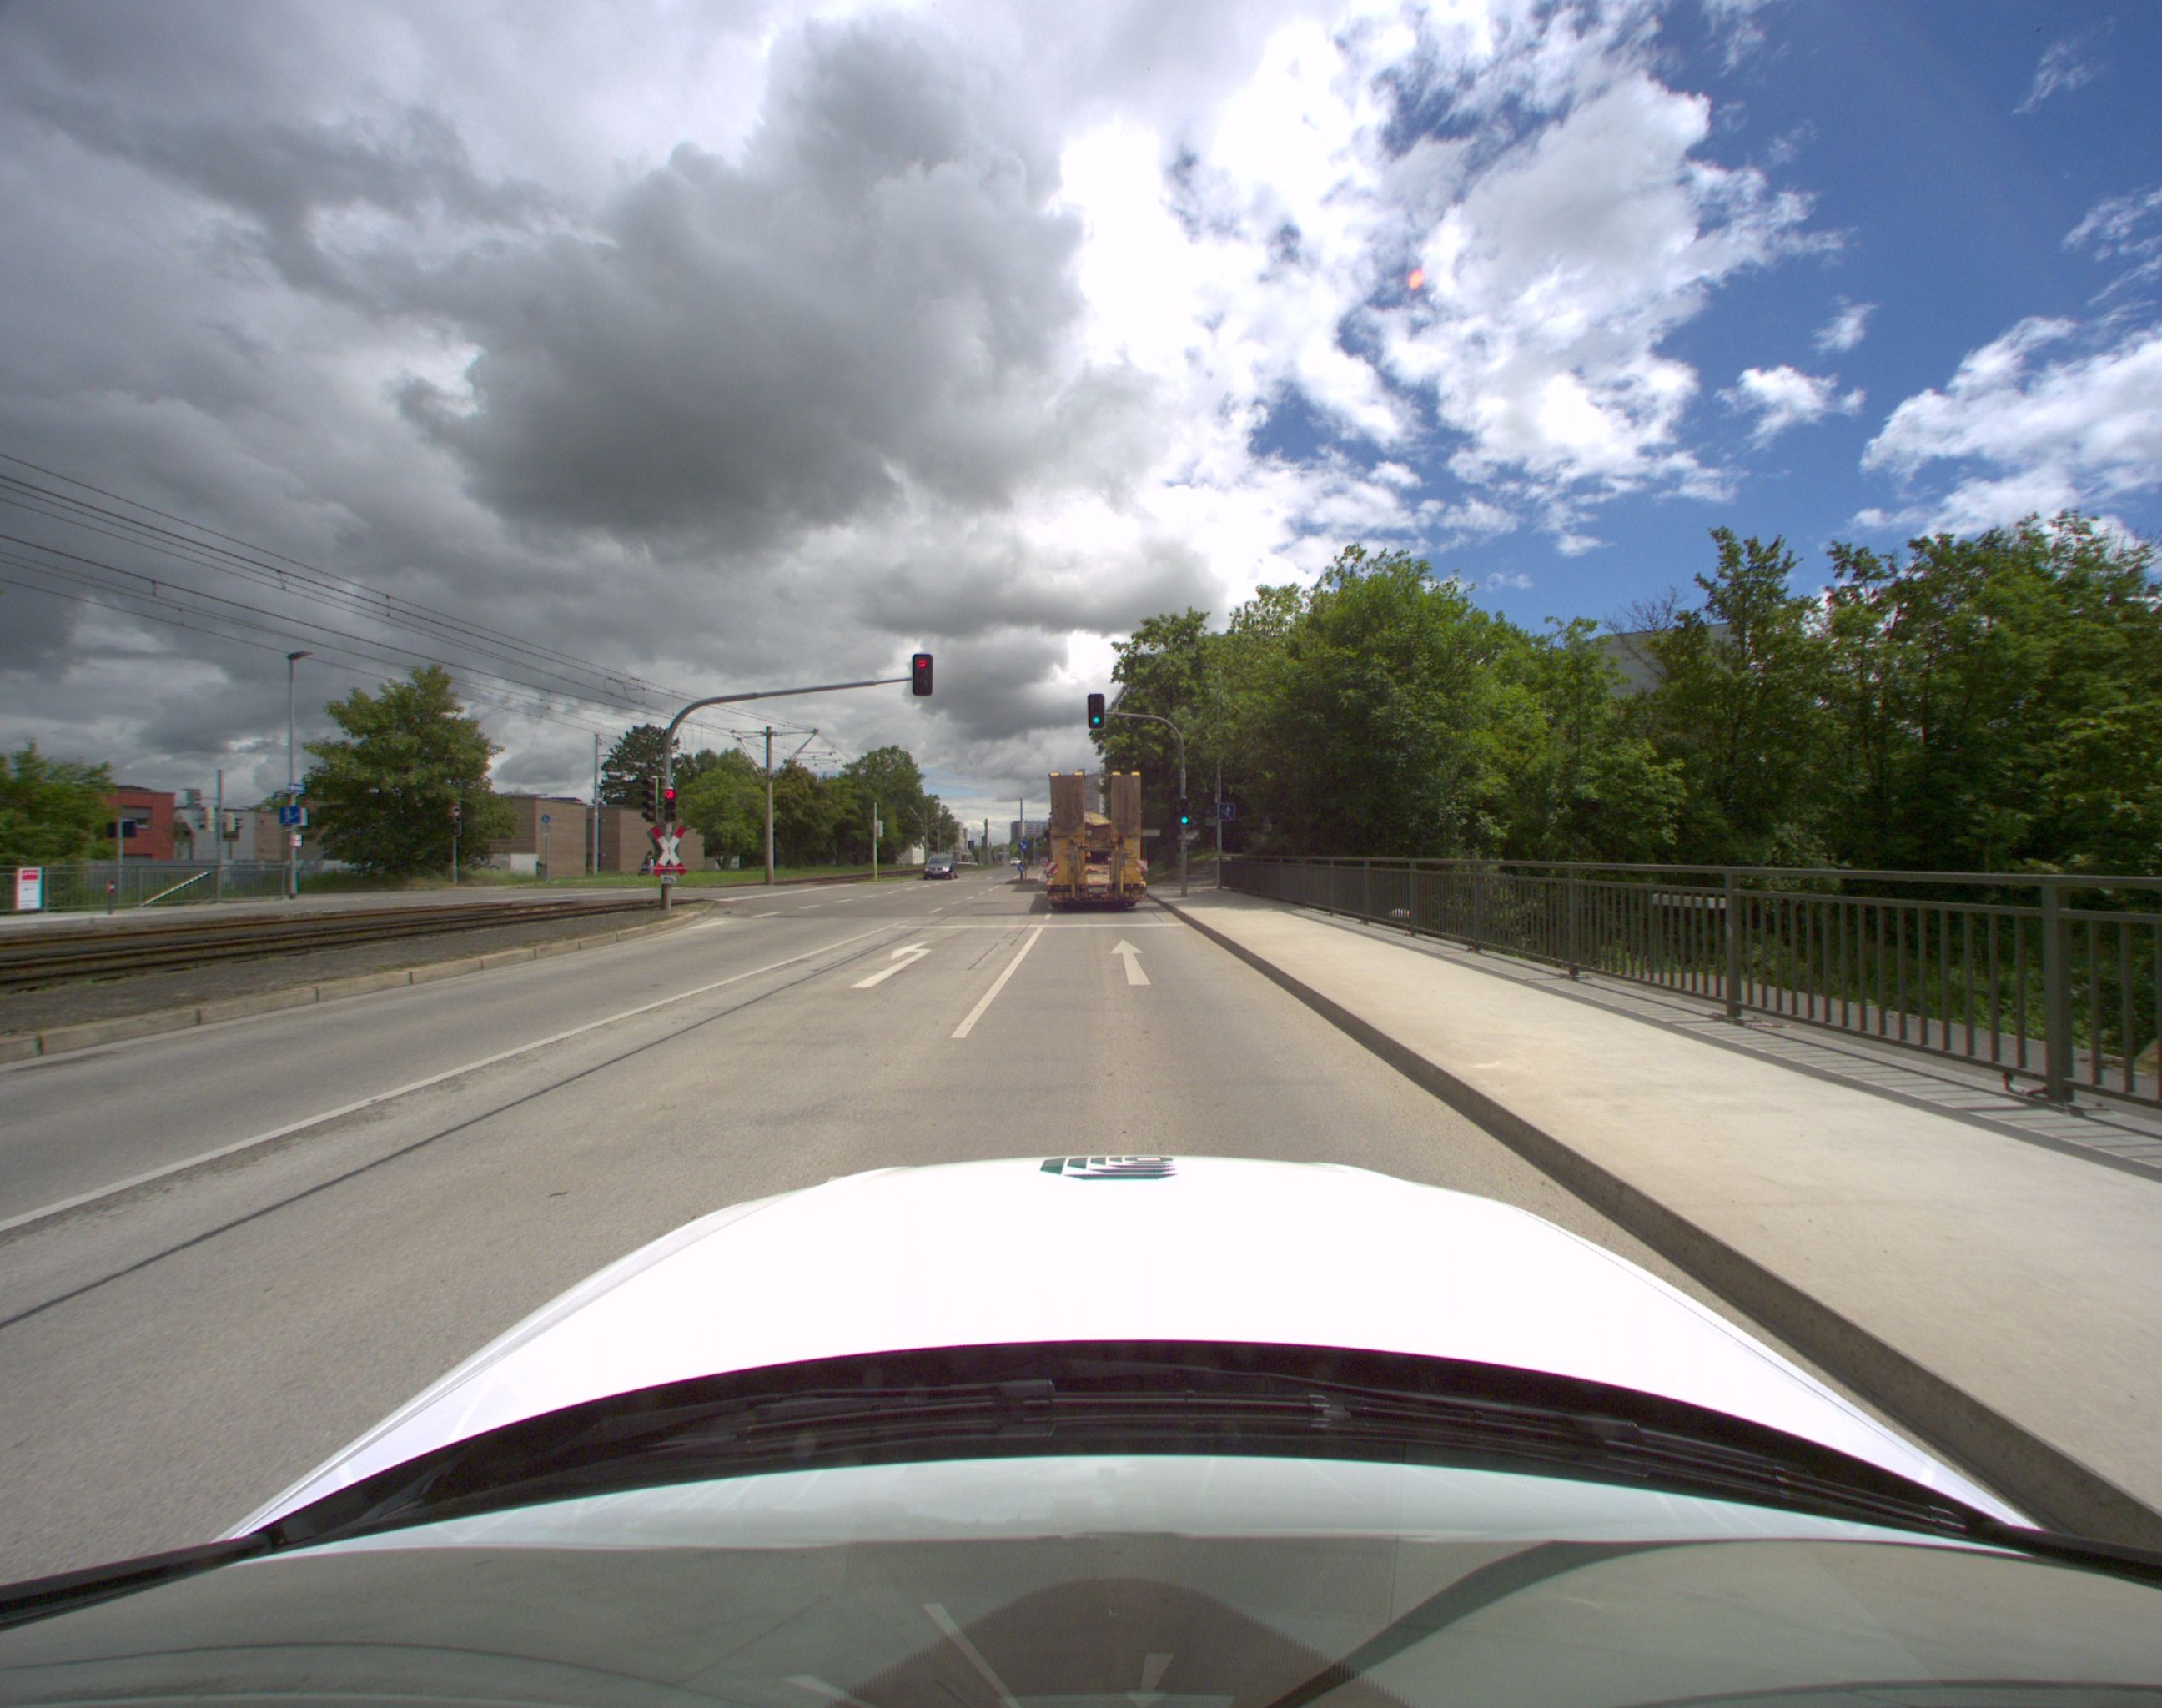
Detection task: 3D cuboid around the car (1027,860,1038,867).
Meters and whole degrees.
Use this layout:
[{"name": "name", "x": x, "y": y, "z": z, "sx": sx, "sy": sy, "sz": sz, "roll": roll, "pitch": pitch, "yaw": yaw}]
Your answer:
[{"name": "car", "x": -8.817, "y": 1.668, "z": 147.714, "sx": 1.779, "sy": 1.271, "sz": 4.342, "roll": 0, "pitch": 0, "yaw": -2}]

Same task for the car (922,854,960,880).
[{"name": "car", "x": -8.853, "y": 0.775, "z": 51.891, "sx": 1.779, "sy": 1.570, "sz": 4.342, "roll": 0, "pitch": 0, "yaw": -2}]

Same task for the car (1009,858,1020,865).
[{"name": "car", "x": -12.734, "y": 1.442, "z": 155.375, "sx": 1.779, "sy": 1.271, "sz": 4.342, "roll": 0, "pitch": 0, "yaw": -2}]

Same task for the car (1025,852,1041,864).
[{"name": "car", "x": -6.415, "y": 0.506, "z": 108.875, "sx": 1.988, "sy": 1.420, "sz": 3.999, "roll": 2, "pitch": 0, "yaw": -1}]

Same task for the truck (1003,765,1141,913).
[{"name": "truck", "x": 0.238, "y": -0.385, "z": 26.552, "sx": 3.301, "sy": 3.651, "sz": 12.577, "roll": 1, "pitch": 0, "yaw": 4}]

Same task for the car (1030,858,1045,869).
[{"name": "car", "x": -6.320, "y": 1.389, "z": 118.870, "sx": 1.988, "sy": 1.420, "sz": 3.999, "roll": 2, "pitch": 0, "yaw": -1}]

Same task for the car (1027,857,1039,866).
[{"name": "car", "x": -8.468, "y": 1.312, "z": 143.466, "sx": 1.987, "sy": 1.618, "sz": 3.999, "roll": 2, "pitch": 0, "yaw": -1}]

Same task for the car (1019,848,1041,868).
[{"name": "car", "x": -5.348, "y": 0.398, "z": 85.796, "sx": 1.988, "sy": 1.925, "sz": 3.999, "roll": 2, "pitch": 0, "yaw": -1}]

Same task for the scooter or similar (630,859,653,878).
[{"name": "scooter or similar", "x": -27.591, "y": 0.902, "z": 51.169, "sx": 0.887, "sy": 1.184, "sz": 0.973, "roll": 2, "pitch": 0, "yaw": 1}]

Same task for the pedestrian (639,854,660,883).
[{"name": "pedestrian", "x": -27.556, "y": 0.935, "z": 51.993, "sx": 0.798, "sy": 1.811, "sz": 0.809, "roll": 2, "pitch": 0, "yaw": 3}]
